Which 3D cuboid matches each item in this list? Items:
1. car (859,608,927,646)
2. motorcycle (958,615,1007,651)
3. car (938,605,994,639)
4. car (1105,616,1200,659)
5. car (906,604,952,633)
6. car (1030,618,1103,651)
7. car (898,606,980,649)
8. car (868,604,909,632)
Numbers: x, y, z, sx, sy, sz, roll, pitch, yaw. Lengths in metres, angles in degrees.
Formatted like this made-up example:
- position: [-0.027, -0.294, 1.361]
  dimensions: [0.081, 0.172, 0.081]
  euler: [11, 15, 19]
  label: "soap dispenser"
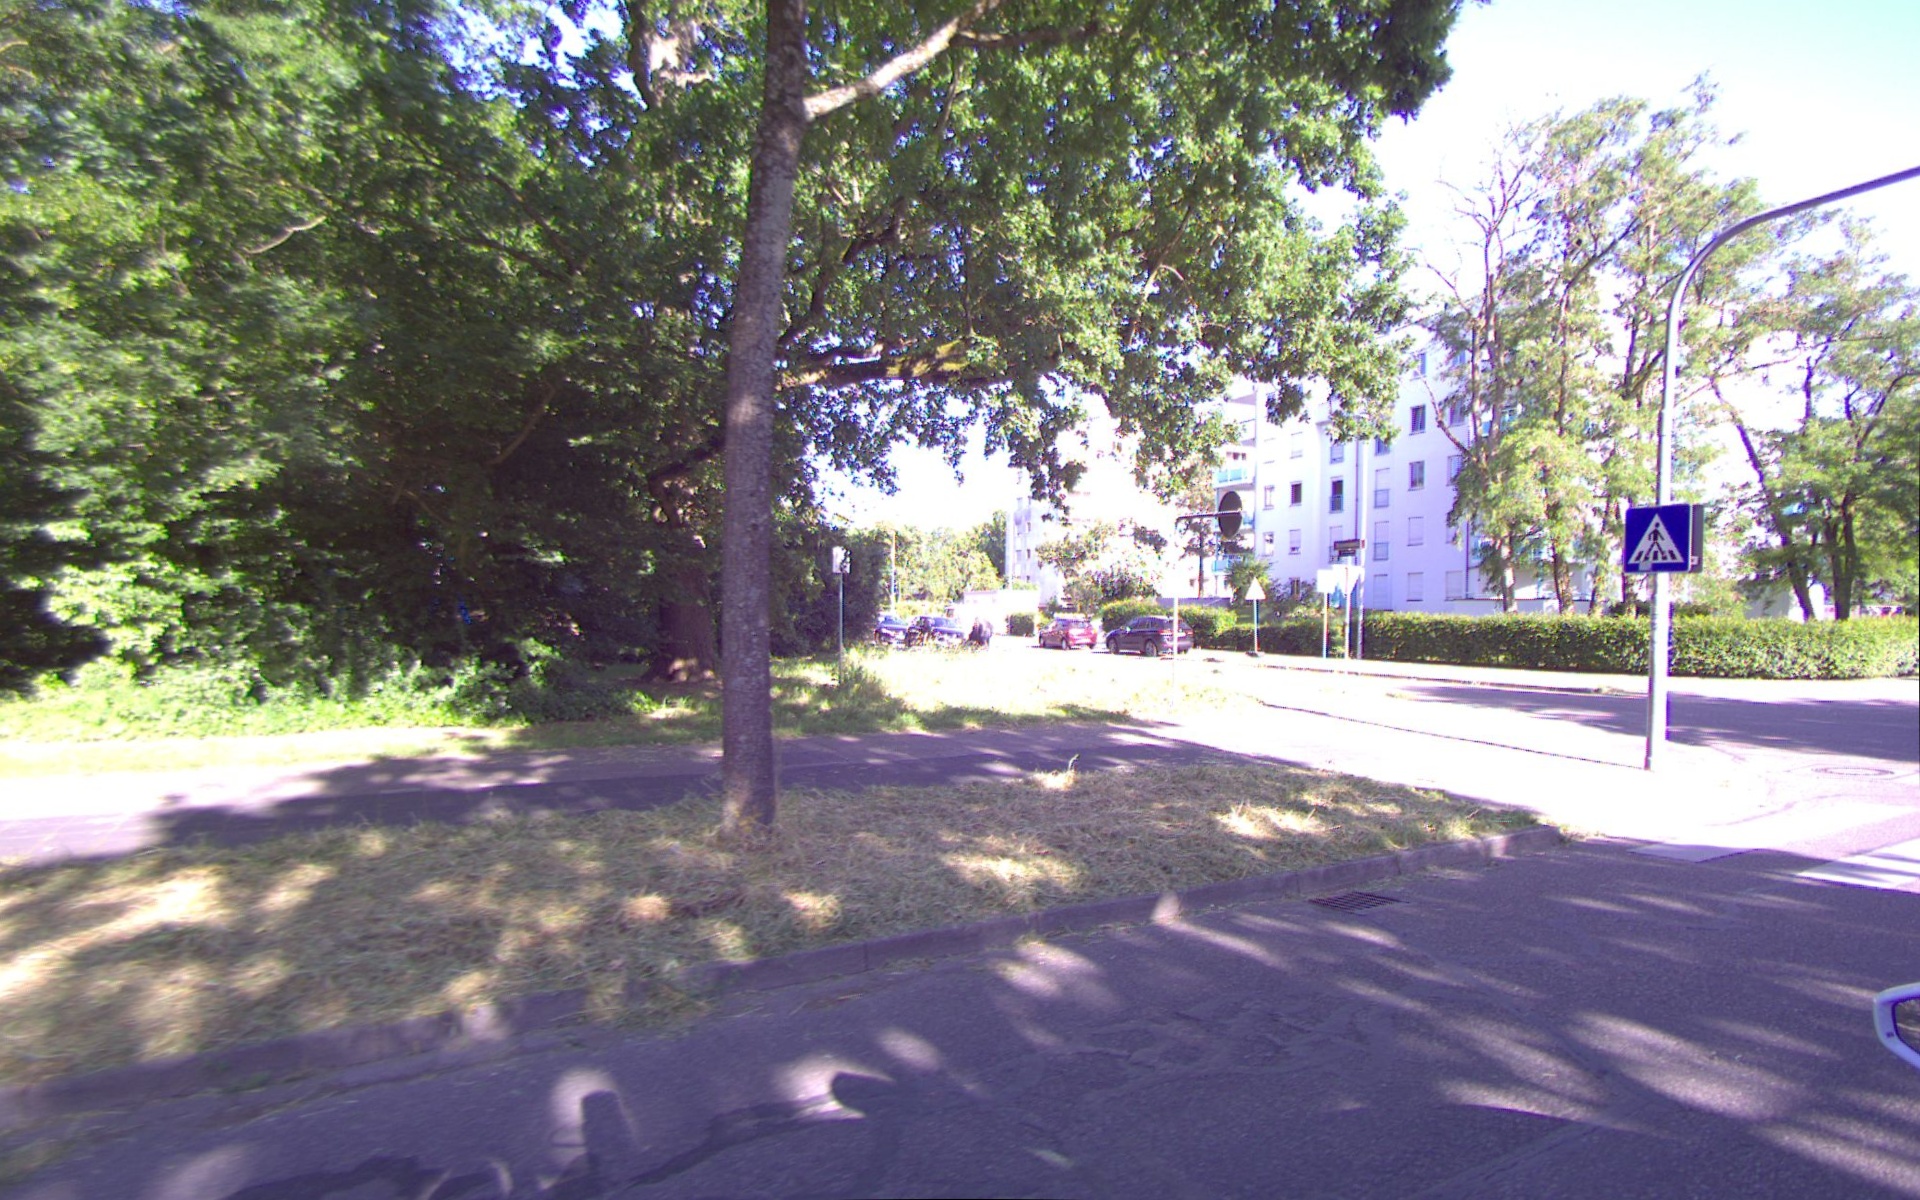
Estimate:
- position: [-3.182, 1.233, 46.695]
  dimensions: [1.971, 1.639, 3.978]
  euler: [1, 0, -23]
  label: "car"
- position: [0.871, 1.209, 37.893]
  dimensions: [1.126, 1.270, 2.564]
  euler: [1, 0, 19]
  label: "motorcycle"
- position: [0.322, 1.296, 60.850]
  dimensions: [1.969, 1.983, 4.454]
  euler: [0, 0, -20]
  label: "car"
- position: [7.897, 1.507, 41.518]
  dimensions: [1.985, 1.634, 3.978]
  euler: [1, 0, -23]
  label: "car"
- position: [-2.251, 1.274, 70.600]
  dimensions: [1.969, 1.983, 4.454]
  euler: [0, 0, -20]
  label: "car"
- position: [5.011, 1.605, 47.826]
  dimensions: [1.784, 1.442, 3.978]
  euler: [0, -1, -23]
  label: "car"
- position: [-0.910, 1.084, 40.686]
  dimensions: [1.971, 1.639, 3.978]
  euler: [1, 0, -23]
  label: "car"
- position: [-5.430, 1.344, 76.158]
  dimensions: [1.969, 1.983, 4.454]
  euler: [0, 0, -20]
  label: "car"
